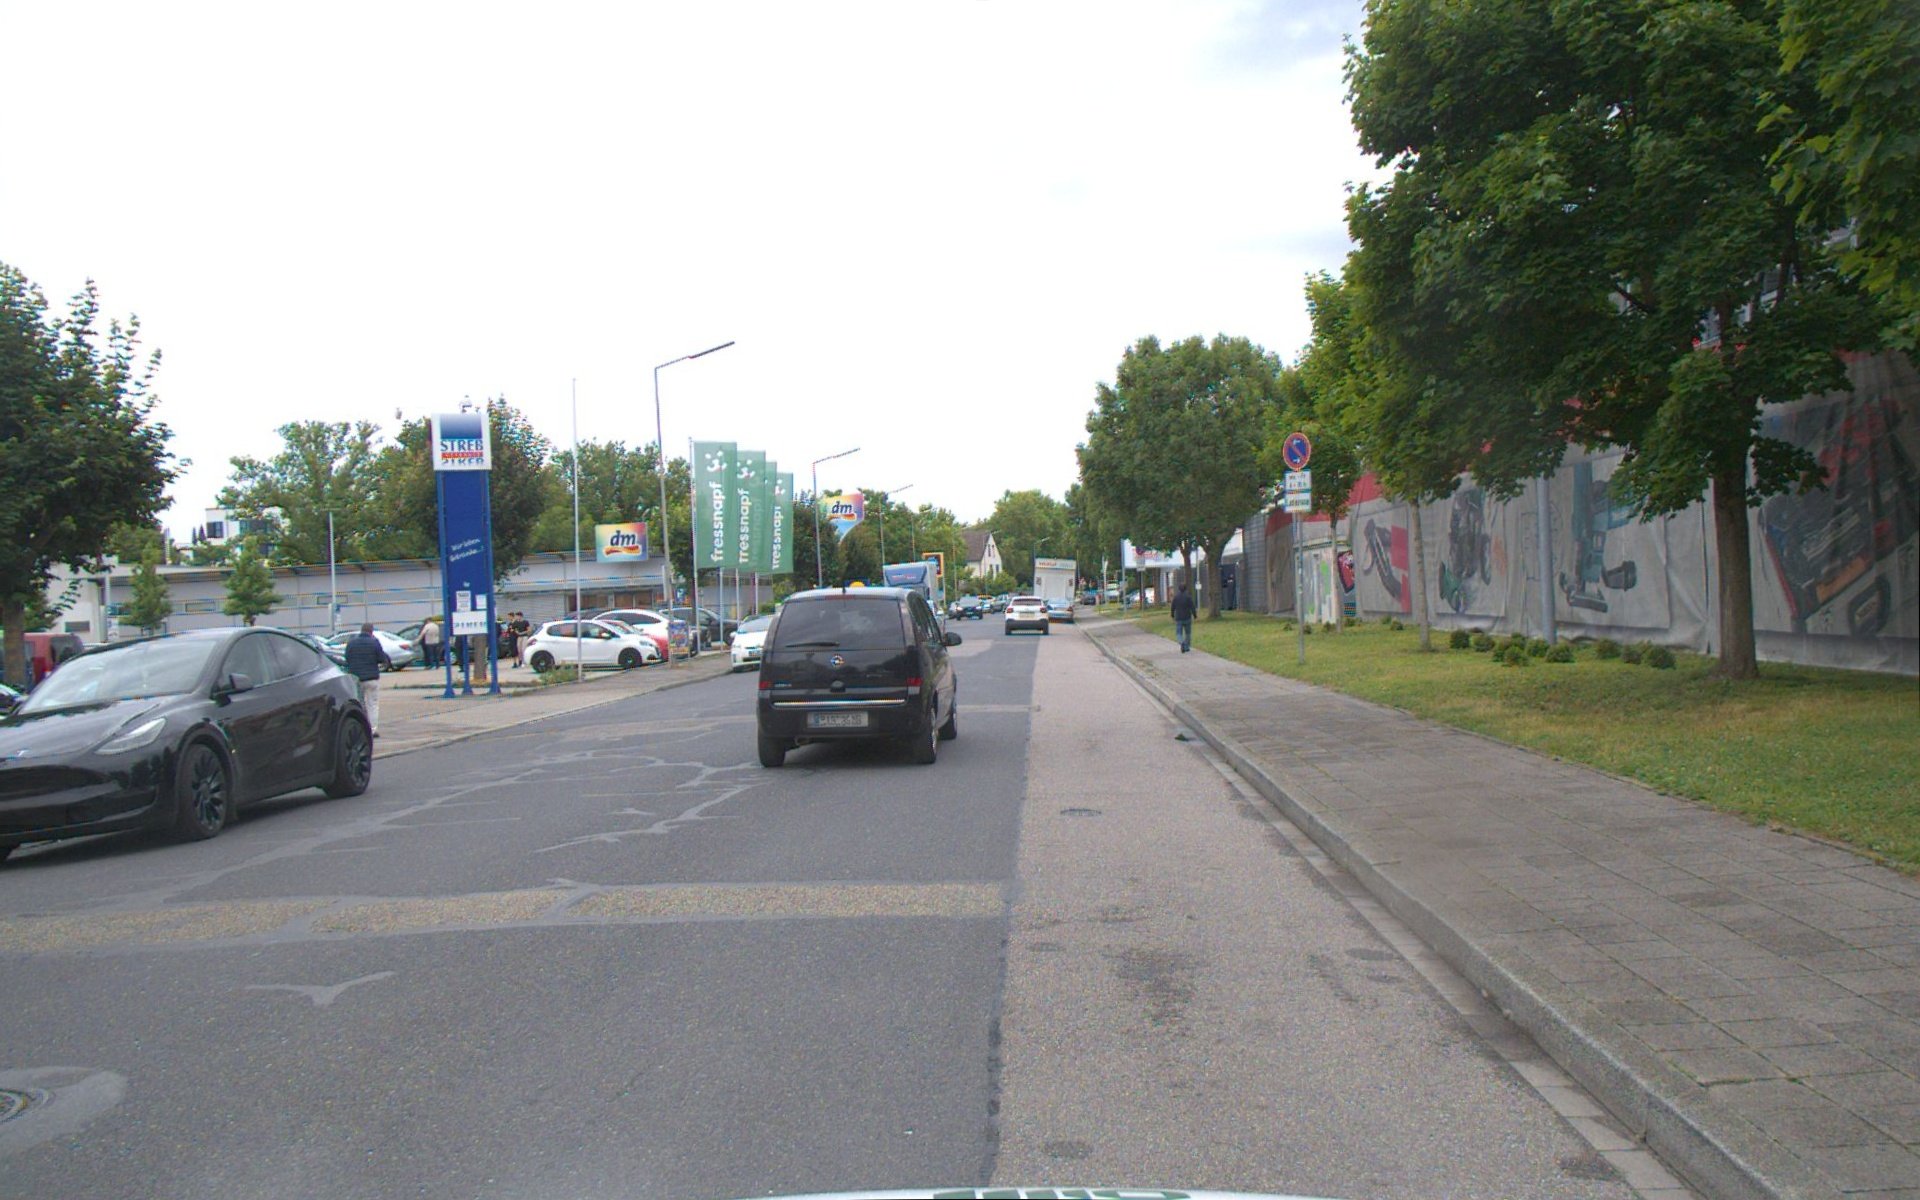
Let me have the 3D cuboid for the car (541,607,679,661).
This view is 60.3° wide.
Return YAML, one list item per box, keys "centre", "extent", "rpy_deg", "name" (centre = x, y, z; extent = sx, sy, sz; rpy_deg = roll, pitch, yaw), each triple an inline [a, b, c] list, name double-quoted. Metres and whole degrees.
- centre: [-11.279, 1.079, 53.511]
  extent: [4.053, 1.488, 1.897]
  rpy_deg: [-3, 0, -3]
  name: "car"

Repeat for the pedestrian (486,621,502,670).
- centre: [-15.225, 1.479, 54.024]
  extent: [0.352, 1.597, 0.503]
  rpy_deg: [-3, 0, -8]
  name: "pedestrian"

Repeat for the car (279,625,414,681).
- centre: [-21.405, 1.836, 57.819]
  extent: [3.904, 1.698, 1.877]
  rpy_deg: [-3, 0, 3]
  name: "car"

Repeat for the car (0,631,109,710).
- centre: [-22.515, 1.711, 38.930]
  extent: [3.904, 1.698, 1.877]
  rpy_deg: [-3, 0, 3]
  name: "car"

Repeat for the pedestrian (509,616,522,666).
- centre: [-14.547, 1.342, 54.115]
  extent: [0.323, 1.597, 0.503]
  rpy_deg: [-1, 0, -8]
  name: "pedestrian"

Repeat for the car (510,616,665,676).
- centre: [-10.893, 1.327, 48.629]
  extent: [4.121, 1.488, 1.951]
  rpy_deg: [-3, 0, -5]
  name: "car"

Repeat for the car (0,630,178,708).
- centre: [-22.026, 1.723, 41.431]
  extent: [3.904, 1.698, 1.877]
  rpy_deg: [-3, 0, 3]
  name: "car"

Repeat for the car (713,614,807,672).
- centre: [-5.503, 1.171, 46.050]
  extent: [1.858, 1.391, 4.002]
  rpy_deg: [-3, 0, 3]
  name: "car"

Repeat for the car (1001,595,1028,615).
- centre: [4.147, 0.392, 125.470]
  extent: [1.897, 1.391, 4.001]
  rpy_deg: [-4, 0, 2]
  name: "car"

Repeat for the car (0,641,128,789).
- centre: [-12.544, 1.402, 20.164]
  extent: [3.792, 1.649, 1.928]
  rpy_deg: [-2, 0, 3]
  name: "car"

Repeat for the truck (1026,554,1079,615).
- centre: [5.822, -0.912, 105.555]
  extent: [3.070, 3.647, 10.052]
  rpy_deg: [-1, -1, 2]
  name: "truck"

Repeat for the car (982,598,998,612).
- centre: [3.165, 0.504, 174.046]
  extent: [1.509, 1.389, 3.429]
  rpy_deg: [-1, -1, 3]
  name: "car"

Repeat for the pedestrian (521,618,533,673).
- centre: [-14.050, 1.478, 53.683]
  extent: [0.258, 1.760, 0.421]
  rpy_deg: [-3, 0, -9]
  name: "pedestrian"

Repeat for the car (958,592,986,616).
- centre: [0.892, 0.290, 120.553]
  extent: [1.952, 1.713, 4.001]
  rpy_deg: [-1, -1, 2]
  name: "car"

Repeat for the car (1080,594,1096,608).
- centre: [15.432, 0.100, 200.196]
  extent: [1.847, 1.713, 4.256]
  rpy_deg: [-1, 0, 4]
  name: "car"

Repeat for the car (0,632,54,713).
- centre: [-22.505, 1.682, 36.511]
  extent: [3.904, 1.698, 1.877]
  rpy_deg: [-3, 0, 3]
  name: "car"

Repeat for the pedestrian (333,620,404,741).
- centre: [-8.851, 1.189, 24.761]
  extent: [0.759, 1.745, 0.697]
  rpy_deg: [-2, 0, -1]
  name: "pedestrian"

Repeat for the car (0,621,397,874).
- centre: [-6.446, 1.092, 13.553]
  extent: [1.907, 1.552, 4.403]
  rpy_deg: [-7, 0, 1]
  name: "car"

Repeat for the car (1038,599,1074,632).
- centre: [5.574, 0.892, 96.515]
  extent: [1.952, 1.837, 4.001]
  rpy_deg: [-1, -1, 2]
  name: "car"

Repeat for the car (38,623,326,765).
- centre: [-12.850, 1.520, 27.507]
  extent: [3.852, 2.048, 1.760]
  rpy_deg: [-3, 0, -4]
  name: "car"

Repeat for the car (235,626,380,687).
- centre: [-21.296, 1.823, 54.052]
  extent: [3.904, 1.698, 1.877]
  rpy_deg: [-3, 0, 3]
  name: "car"

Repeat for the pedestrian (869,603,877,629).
- centre: [-5.305, 0.978, 100.850]
  extent: [0.394, 1.558, 0.485]
  rpy_deg: [-3, 0, -3]
  name: "pedestrian"

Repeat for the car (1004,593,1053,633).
- centre: [2.797, 0.514, 67.057]
  extent: [1.847, 1.558, 4.256]
  rpy_deg: [-1, 0, 4]
  name: "car"

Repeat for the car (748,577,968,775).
- centre: [-0.891, 0.666, 16.419]
  extent: [1.646, 1.660, 3.760]
  rpy_deg: [-3, 0, 3]
  name: "car"

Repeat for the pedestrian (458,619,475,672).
- centre: [-15.953, 1.461, 53.456]
  extent: [0.447, 1.670, 0.373]
  rpy_deg: [-3, 0, -15]
  name: "pedestrian"

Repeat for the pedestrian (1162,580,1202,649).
- centre: [5.426, 0.351, 40.533]
  extent: [0.899, 1.663, 0.853]
  rpy_deg: [-1, -1, 5]
  name: "pedestrian"

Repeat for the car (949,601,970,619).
- centre: [-0.028, 0.854, 140.556]
  extent: [1.589, 1.399, 3.453]
  rpy_deg: [-1, -1, 2]
  name: "car"

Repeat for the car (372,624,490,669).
- centre: [-20.486, 1.788, 64.164]
  extent: [3.903, 1.518, 1.787]
  rpy_deg: [-3, 0, 4]
  name: "car"

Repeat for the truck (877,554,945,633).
- centre: [-2.673, -0.356, 91.868]
  extent: [2.912, 4.024, 6.407]
  rpy_deg: [-4, 0, 3]
  name: "truck"

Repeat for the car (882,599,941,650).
- centre: [-1.598, 0.826, 55.865]
  extent: [1.565, 1.554, 3.529]
  rpy_deg: [-4, -1, 3]
  name: "car"

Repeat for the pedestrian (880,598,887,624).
- centre: [-4.646, 0.685, 100.379]
  extent: [0.393, 1.558, 0.485]
  rpy_deg: [-3, 0, -3]
  name: "pedestrian"

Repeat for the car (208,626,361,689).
- centre: [-21.046, 1.782, 51.626]
  extent: [3.904, 1.698, 1.877]
  rpy_deg: [-3, 0, 3]
  name: "car"

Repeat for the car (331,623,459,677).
- centre: [-20.555, 1.817, 60.240]
  extent: [3.904, 1.698, 1.877]
  rpy_deg: [-3, 0, 3]
  name: "car"
